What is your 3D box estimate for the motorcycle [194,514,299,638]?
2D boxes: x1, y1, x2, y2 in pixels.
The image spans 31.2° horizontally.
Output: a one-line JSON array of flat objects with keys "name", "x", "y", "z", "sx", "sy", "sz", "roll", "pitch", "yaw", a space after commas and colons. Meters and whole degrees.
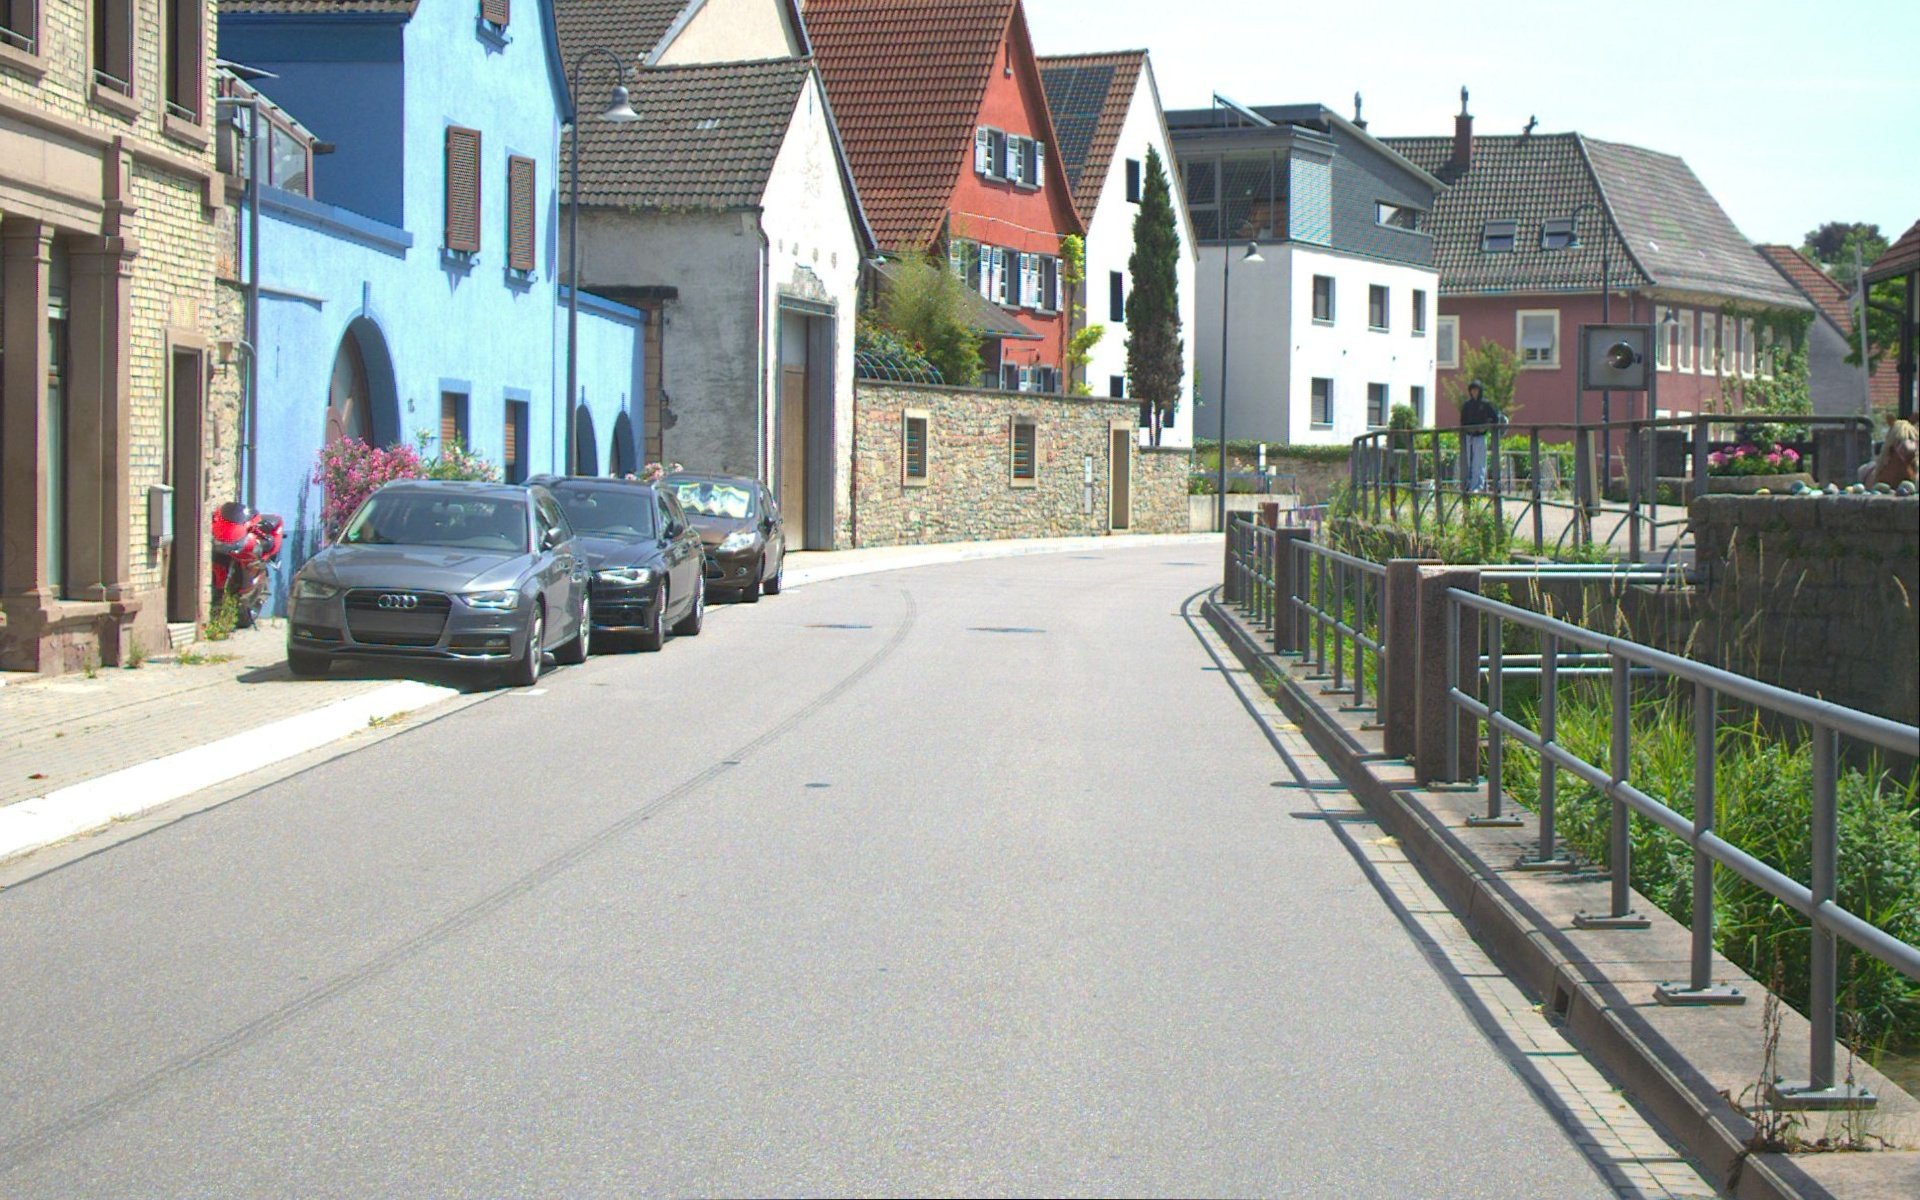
[{"name": "motorcycle", "x": -6.148, "y": -0.226, "z": 29.696, "sx": 0.418, "sy": 0.997, "sz": 1.859, "roll": 5, "pitch": 2, "yaw": 0}]

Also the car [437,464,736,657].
[{"name": "car", "x": -3.326, "y": -0.428, "z": 31.498, "sx": 1.885, "sy": 1.459, "sz": 4.668, "roll": 4, "pitch": 3, "yaw": 3}]

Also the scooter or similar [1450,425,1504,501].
[{"name": "scooter or similar", "x": 7.884, "y": -2.079, "z": 52.454, "sx": 0.641, "sy": 1.138, "sz": 1.811, "roll": 0, "pitch": 2, "yaw": 3}]

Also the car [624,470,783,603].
[{"name": "car", "x": -3.059, "y": -0.791, "z": 41.651, "sx": 1.717, "sy": 1.524, "sz": 3.857, "roll": 0, "pitch": 2, "yaw": -1}]

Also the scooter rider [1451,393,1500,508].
[{"name": "scooter rider", "x": 7.873, "y": -2.285, "z": 52.515, "sx": 0.641, "sy": 1.725, "sz": 0.554, "roll": 2, "pitch": 2, "yaw": 3}]

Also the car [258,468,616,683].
[{"name": "car", "x": -3.913, "y": -0.230, "z": 26.482, "sx": 1.957, "sy": 1.460, "sz": 4.546, "roll": 1, "pitch": 1, "yaw": 1}]
